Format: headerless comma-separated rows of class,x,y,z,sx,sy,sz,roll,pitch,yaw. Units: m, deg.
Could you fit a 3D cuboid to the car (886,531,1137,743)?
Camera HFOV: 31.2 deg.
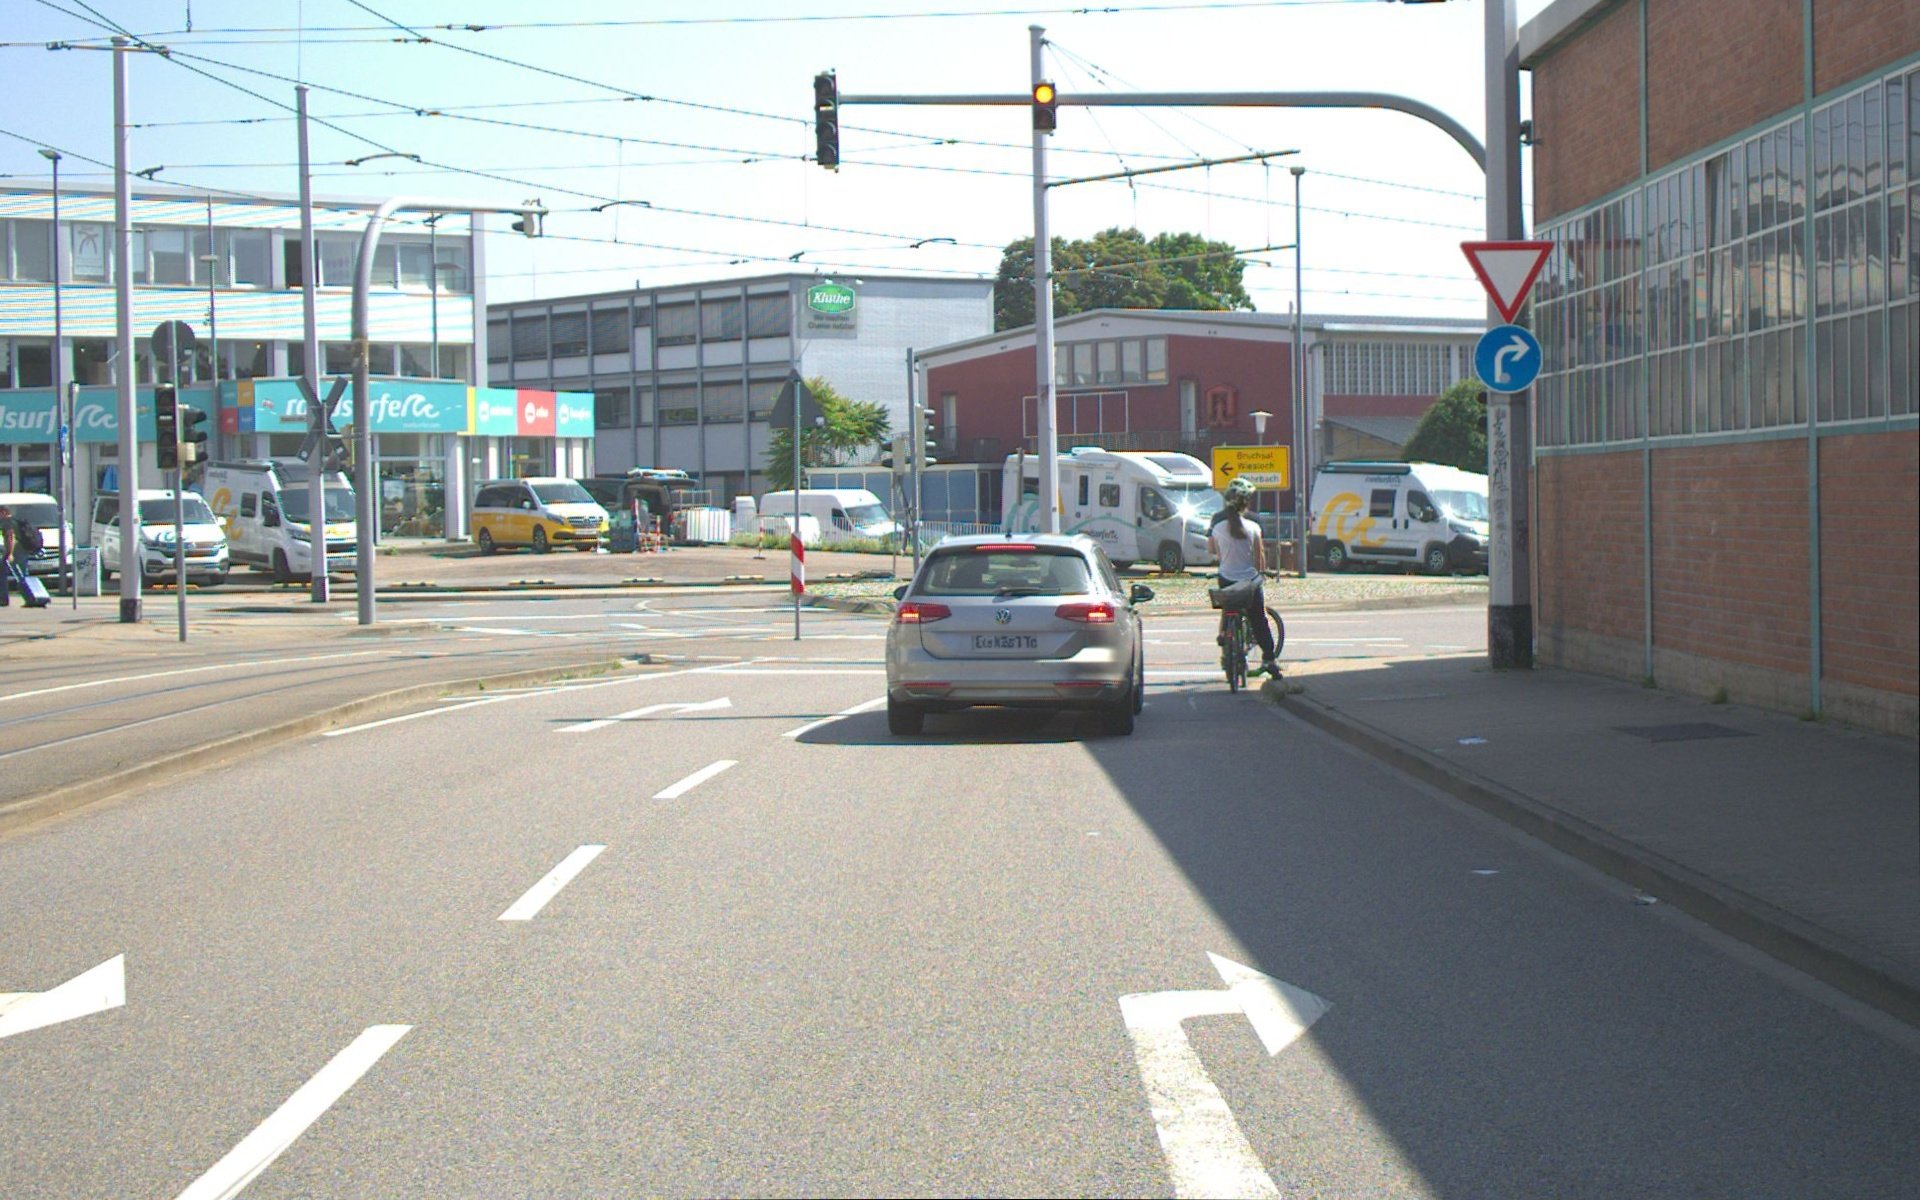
car,0.463,0.222,26.167,1.746,1.454,4.000,-1,1,3

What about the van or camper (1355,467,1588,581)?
van or camper,12.712,-1.937,85.820,2.282,2.602,5.892,-3,4,-36

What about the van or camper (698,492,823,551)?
van or camper,-6.707,-2.648,115.375,3.997,1.941,1.995,1,2,44

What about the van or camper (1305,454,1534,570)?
van or camper,10.909,-2.137,81.988,2.282,2.431,5.386,-3,6,-36

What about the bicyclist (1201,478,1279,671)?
bicyclist,2.660,-0.251,32.725,0.708,1.804,0.983,0,1,3

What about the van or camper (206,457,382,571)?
van or camper,-14.745,-1.946,75.850,2.031,2.288,5.813,-2,4,-30

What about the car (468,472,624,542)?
car,-10.817,-2.403,89.571,1.938,1.753,5.122,-1,2,-33

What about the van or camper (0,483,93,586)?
van or camper,-20.357,-1.449,74.084,1.993,2.006,4.763,-2,4,-30

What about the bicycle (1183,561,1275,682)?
bicycle,2.407,0.173,30.894,0.794,1.018,2.150,0,1,4

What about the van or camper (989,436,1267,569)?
van or camper,3.892,-2.364,81.191,2.347,2.920,6.984,-3,5,-42

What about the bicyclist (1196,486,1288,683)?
bicyclist,2.501,-0.150,30.578,0.786,1.716,1.147,0,1,4

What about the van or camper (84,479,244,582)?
van or camper,-17.275,-1.543,74.424,1.993,2.006,5.011,-2,4,-30

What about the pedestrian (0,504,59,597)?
pedestrian,-14.966,-0.787,54.692,1.129,1.450,0.838,-1,1,-9
